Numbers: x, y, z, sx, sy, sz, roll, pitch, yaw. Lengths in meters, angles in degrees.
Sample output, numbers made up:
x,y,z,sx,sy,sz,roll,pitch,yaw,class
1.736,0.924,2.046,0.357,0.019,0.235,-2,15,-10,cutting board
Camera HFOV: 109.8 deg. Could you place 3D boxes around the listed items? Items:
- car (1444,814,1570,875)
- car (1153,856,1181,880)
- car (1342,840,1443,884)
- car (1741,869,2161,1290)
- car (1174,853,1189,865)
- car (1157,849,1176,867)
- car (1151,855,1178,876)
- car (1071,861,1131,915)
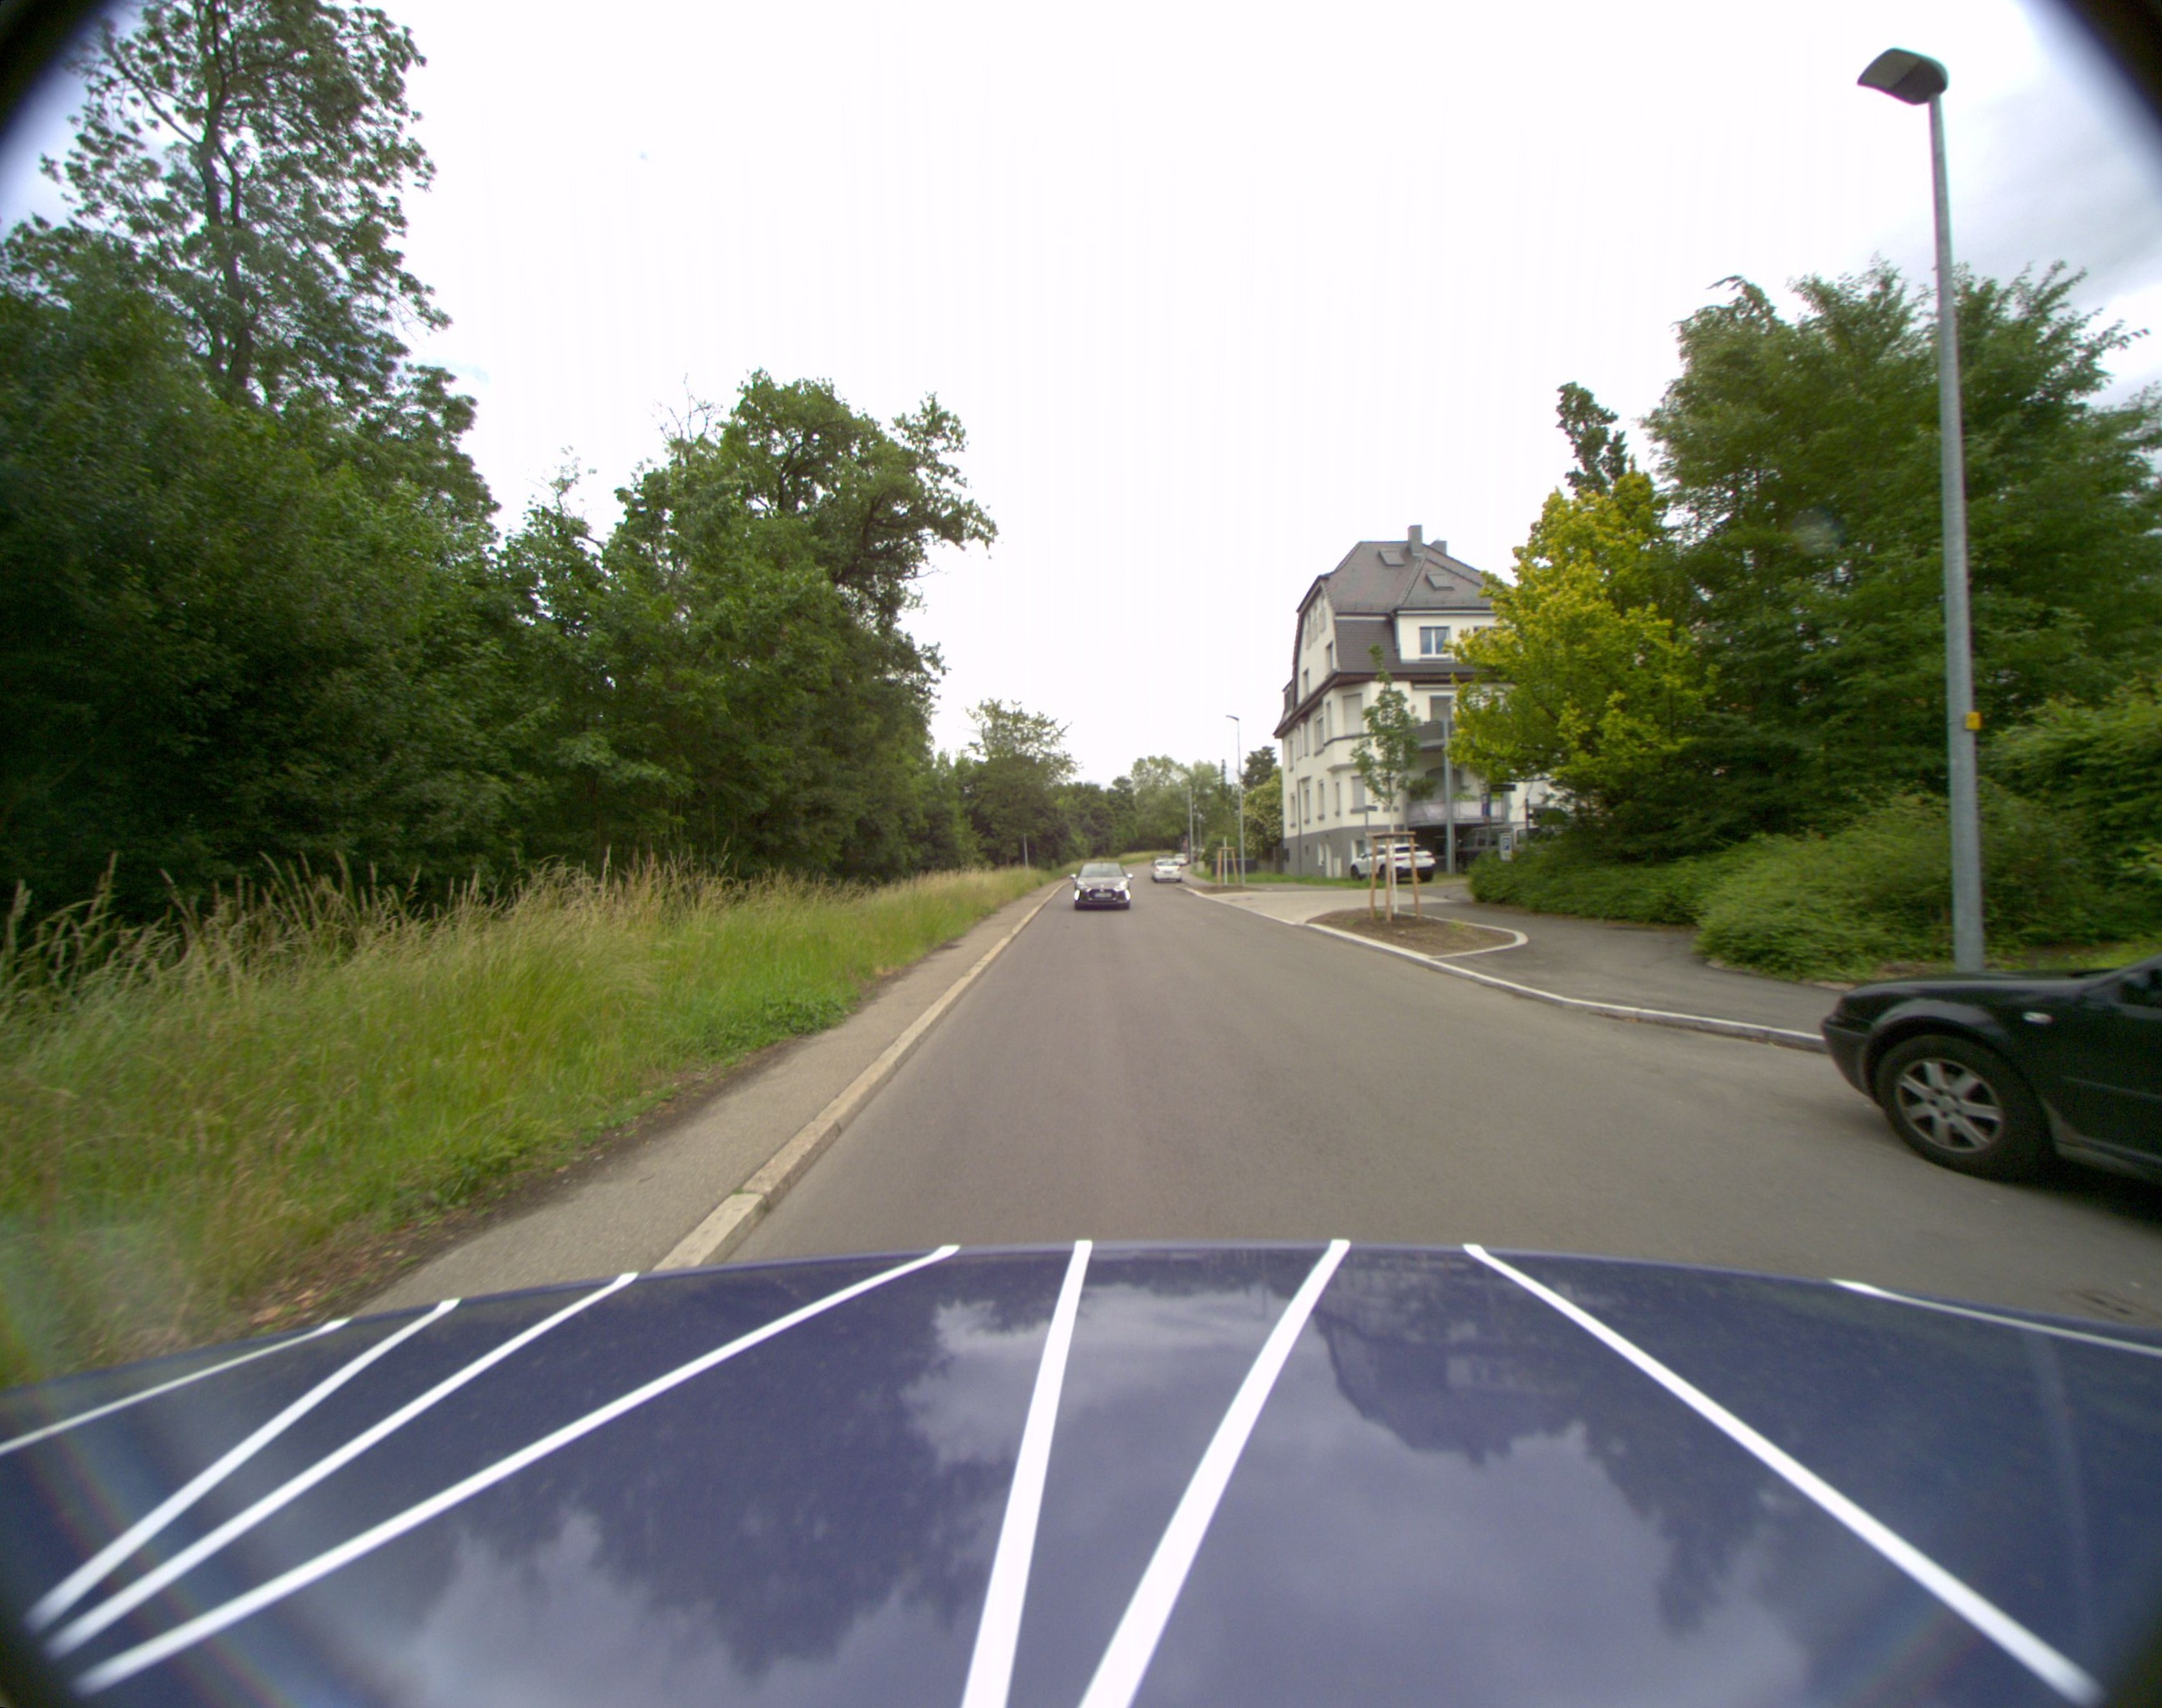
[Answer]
x,y,z,sx,sy,sz,roll,pitch,yaw,class
16.451,-0.393,29.684,1.911,2.039,4.761,-4,1,-4,car
5.517,0.869,49.097,1.646,1.461,4.072,0,0,4,car
12.467,0.248,30.763,1.911,1.524,4.595,-4,1,-4,car
4.748,0.833,2.172,1.687,1.473,4.693,-1,0,1,car
13.338,0.631,100.491,1.735,1.420,3.460,0,1,12,car
8.708,0.396,77.253,1.799,1.790,4.066,0,1,8,car
5.986,0.804,54.857,1.728,1.382,4.727,0,1,4,car
0.693,0.974,23.422,1.619,1.460,4.001,-2,-1,4,car
